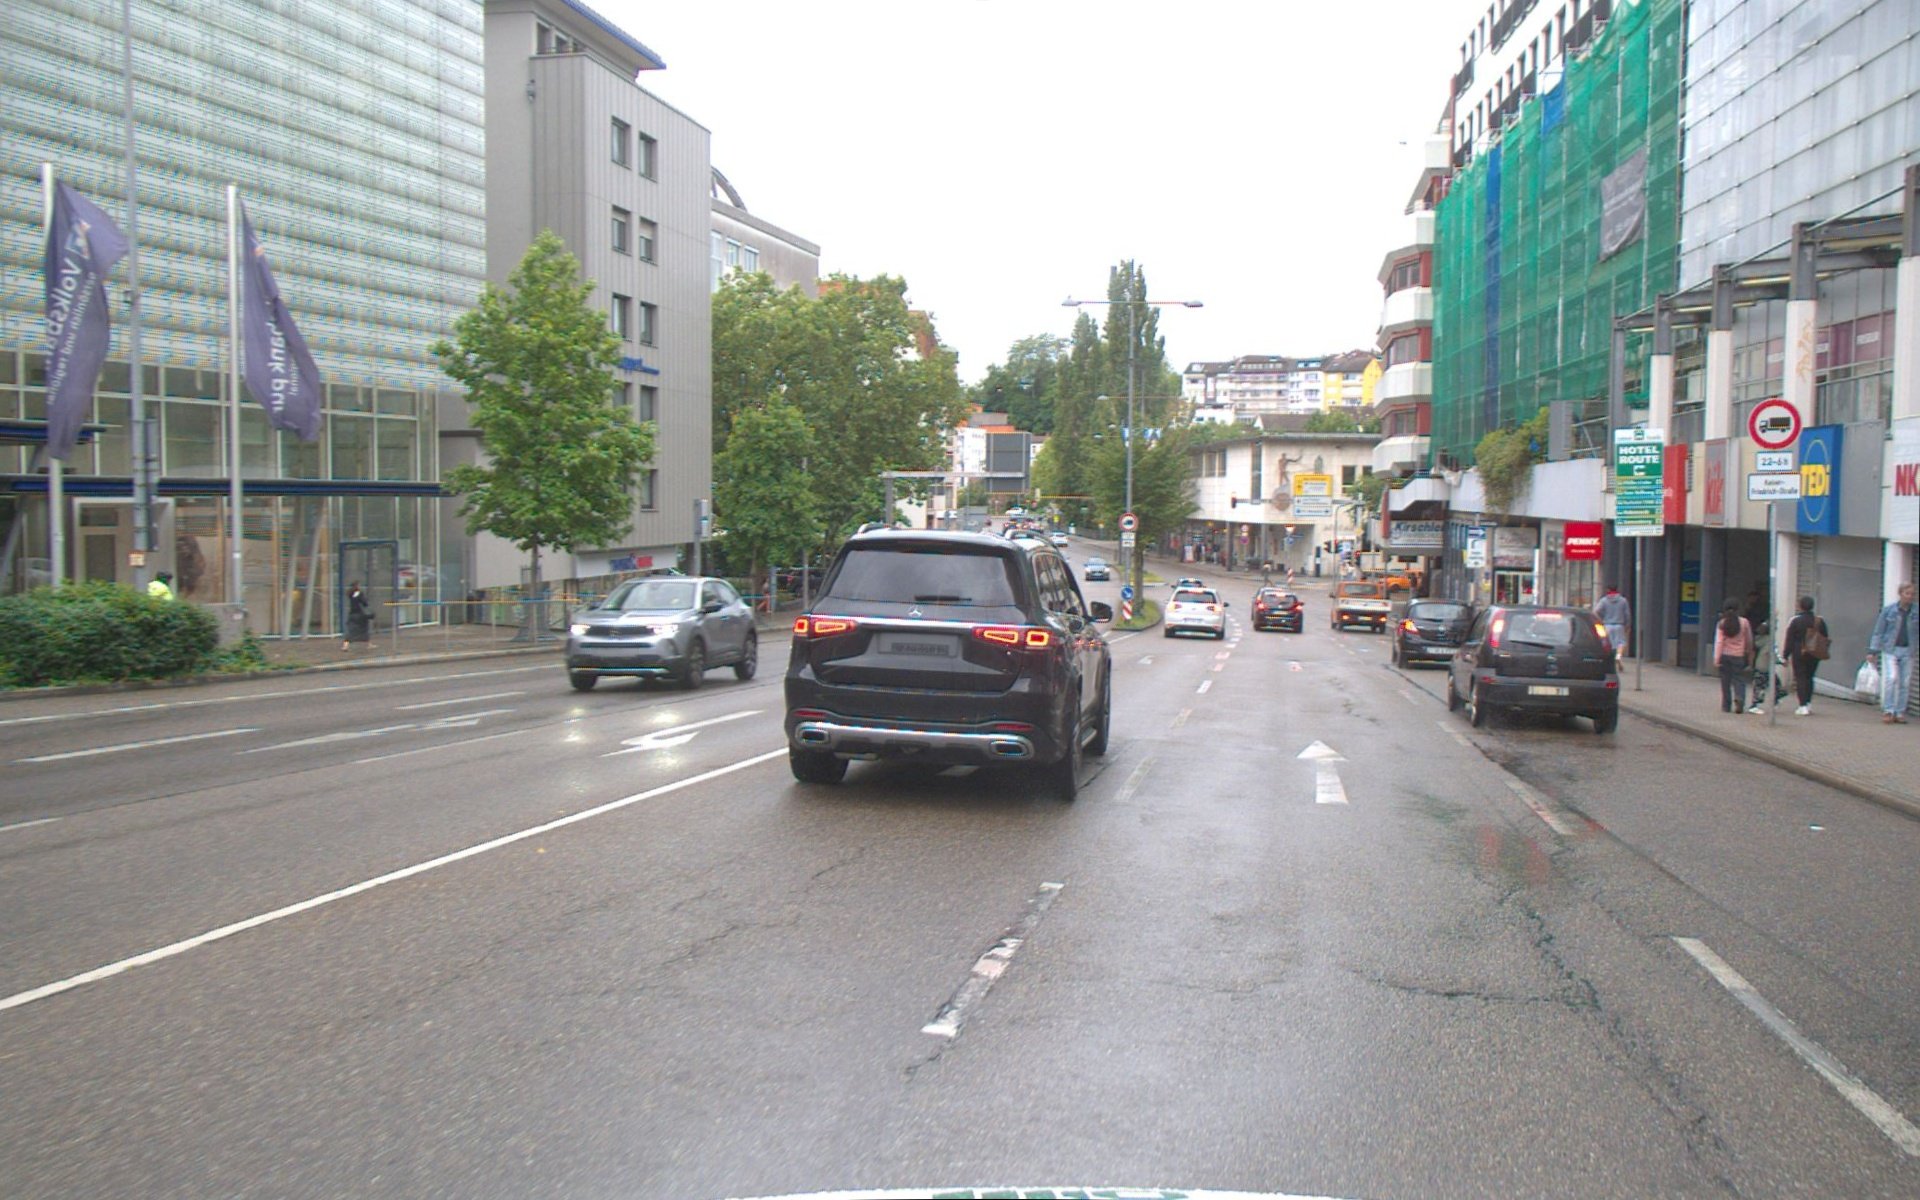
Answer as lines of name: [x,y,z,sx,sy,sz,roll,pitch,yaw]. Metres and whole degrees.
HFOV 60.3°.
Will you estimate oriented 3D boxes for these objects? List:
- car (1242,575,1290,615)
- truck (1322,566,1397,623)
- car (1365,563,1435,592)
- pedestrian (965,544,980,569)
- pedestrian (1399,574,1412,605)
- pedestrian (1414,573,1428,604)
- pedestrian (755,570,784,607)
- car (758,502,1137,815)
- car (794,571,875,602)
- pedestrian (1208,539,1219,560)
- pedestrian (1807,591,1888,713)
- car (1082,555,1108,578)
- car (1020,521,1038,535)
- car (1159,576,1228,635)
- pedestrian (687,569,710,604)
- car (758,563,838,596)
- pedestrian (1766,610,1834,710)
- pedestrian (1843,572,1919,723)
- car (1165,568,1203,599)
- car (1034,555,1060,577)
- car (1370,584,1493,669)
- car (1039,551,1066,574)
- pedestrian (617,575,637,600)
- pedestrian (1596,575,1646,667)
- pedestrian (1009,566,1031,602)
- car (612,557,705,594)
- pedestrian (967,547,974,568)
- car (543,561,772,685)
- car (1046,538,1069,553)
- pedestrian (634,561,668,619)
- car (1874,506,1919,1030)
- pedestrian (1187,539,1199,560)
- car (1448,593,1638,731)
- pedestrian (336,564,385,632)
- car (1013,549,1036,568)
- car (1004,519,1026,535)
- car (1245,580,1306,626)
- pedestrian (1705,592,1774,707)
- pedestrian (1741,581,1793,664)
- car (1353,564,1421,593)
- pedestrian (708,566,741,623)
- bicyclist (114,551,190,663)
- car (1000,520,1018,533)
car: [13.441,-0.227,72.792,1.723,1.569,4.004,2,2,6]
truck: [15.867,-0.277,65.960,2.137,2.118,5.607,2,1,6]
car: [27.849,-1.426,104.783,3.915,1.644,1.775,2,1,-1]
pedestrian: [0.944,-3.169,121.073,0.894,1.834,0.621,0,1,-32]
pedestrian: [24.806,-0.598,92.062,0.564,1.729,0.650,0,1,-1]
pedestrian: [25.596,-0.623,91.895,0.564,1.729,0.650,0,1,-5]
pedestrian: [-9.461,-0.576,82.151,0.935,1.752,1.009,1,3,43]
car: [0.154,0.313,12.727,2.043,1.848,4.797,3,1,9]
car: [-7.215,-0.792,95.486,4.500,1.508,1.941,3,1,-3]
pedestrian: [21.995,-4.367,143.436,0.689,1.834,0.938,0,1,-5]
pedestrian: [11.243,0.646,20.980,0.756,1.492,0.704,1,1,16]
car: [9.452,-2.345,115.992,1.782,1.576,4.003,2,1,4]
car: [8.983,-9.435,216.428,1.796,1.616,3.870,2,1,-5]
car: [6.994,0.136,49.305,1.908,1.601,4.004,2,1,9]
pedestrian: [-13.171,-0.689,83.293,0.742,1.752,0.952,1,1,22]
car: [-9.568,-1.233,98.004,4.592,1.672,1.785,3,1,-6]
pedestrian: [10.704,0.753,21.094,0.676,1.228,0.554,1,1,18]
pedestrian: [11.035,0.547,19.666,0.818,1.752,0.618,1,1,18]
car: [11.466,-0.856,84.809,1.756,1.493,4.003,2,2,6]
car: [6.035,-2.399,115.545,1.671,1.476,3.863,2,1,2]
car: [10.094,0.517,35.650,1.908,1.601,4.003,2,1,7]
car: [6.861,-2.785,123.162,1.741,1.576,4.001,2,1,0]
pedestrian: [-17.154,-0.642,85.180,0.934,1.294,0.756,0,1,-17]
pedestrian: [12.857,0.390,32.172,0.818,1.752,0.830,1,1,18]
pedestrian: [3.244,-0.860,89.672,1.040,1.914,0.839,1,1,15]
car: [-17.357,-1.420,95.408,4.971,1.789,1.999,3,1,-3]
pedestrian: [0.926,-3.758,146.733,0.612,1.834,0.906,0,1,2]
car: [-4.123,0.268,23.227,1.801,1.579,4.098,-1,1,10]
car: [10.665,-5.941,180.569,1.954,1.623,3.998,2,1,-4]
pedestrian: [-9.427,-0.300,50.506,0.974,1.752,1.037,0,1,-9]
car: [4.105,0.644,3.831,1.867,1.816,4.305,0,2,5]
pedestrian: [20.342,-4.437,144.474,0.783,1.834,0.917,0,1,-5]
car: [7.022,0.678,20.252,1.680,1.445,3.773,2,1,12]
pedestrian: [-13.248,-0.061,36.582,0.638,1.482,0.845,1,1,16]
car: [5.598,-3.605,144.130,1.742,1.576,4.000,2,1,-1]
car: [7.376,-9.869,223.692,1.960,2.048,3.987,1,1,-14]
car: [11.803,0.088,62.015,1.774,1.465,4.003,3,2,5]
pedestrian: [10.101,0.632,21.451,0.730,1.463,0.597,-1,0,18]
pedestrian: [17.257,0.472,35.376,0.666,1.745,0.805,0,1,-44]
car: [27.032,-1.363,104.661,3.743,1.644,1.773,2,1,-7]
pedestrian: [-7.336,-0.175,51.553,0.798,1.743,1.314,1,1,2]
bicyclist: [-13.721,0.116,28.113,0.654,1.862,0.991,0,0,19]
car: [6.407,-9.600,216.768,1.716,1.581,3.562,2,1,-9]
